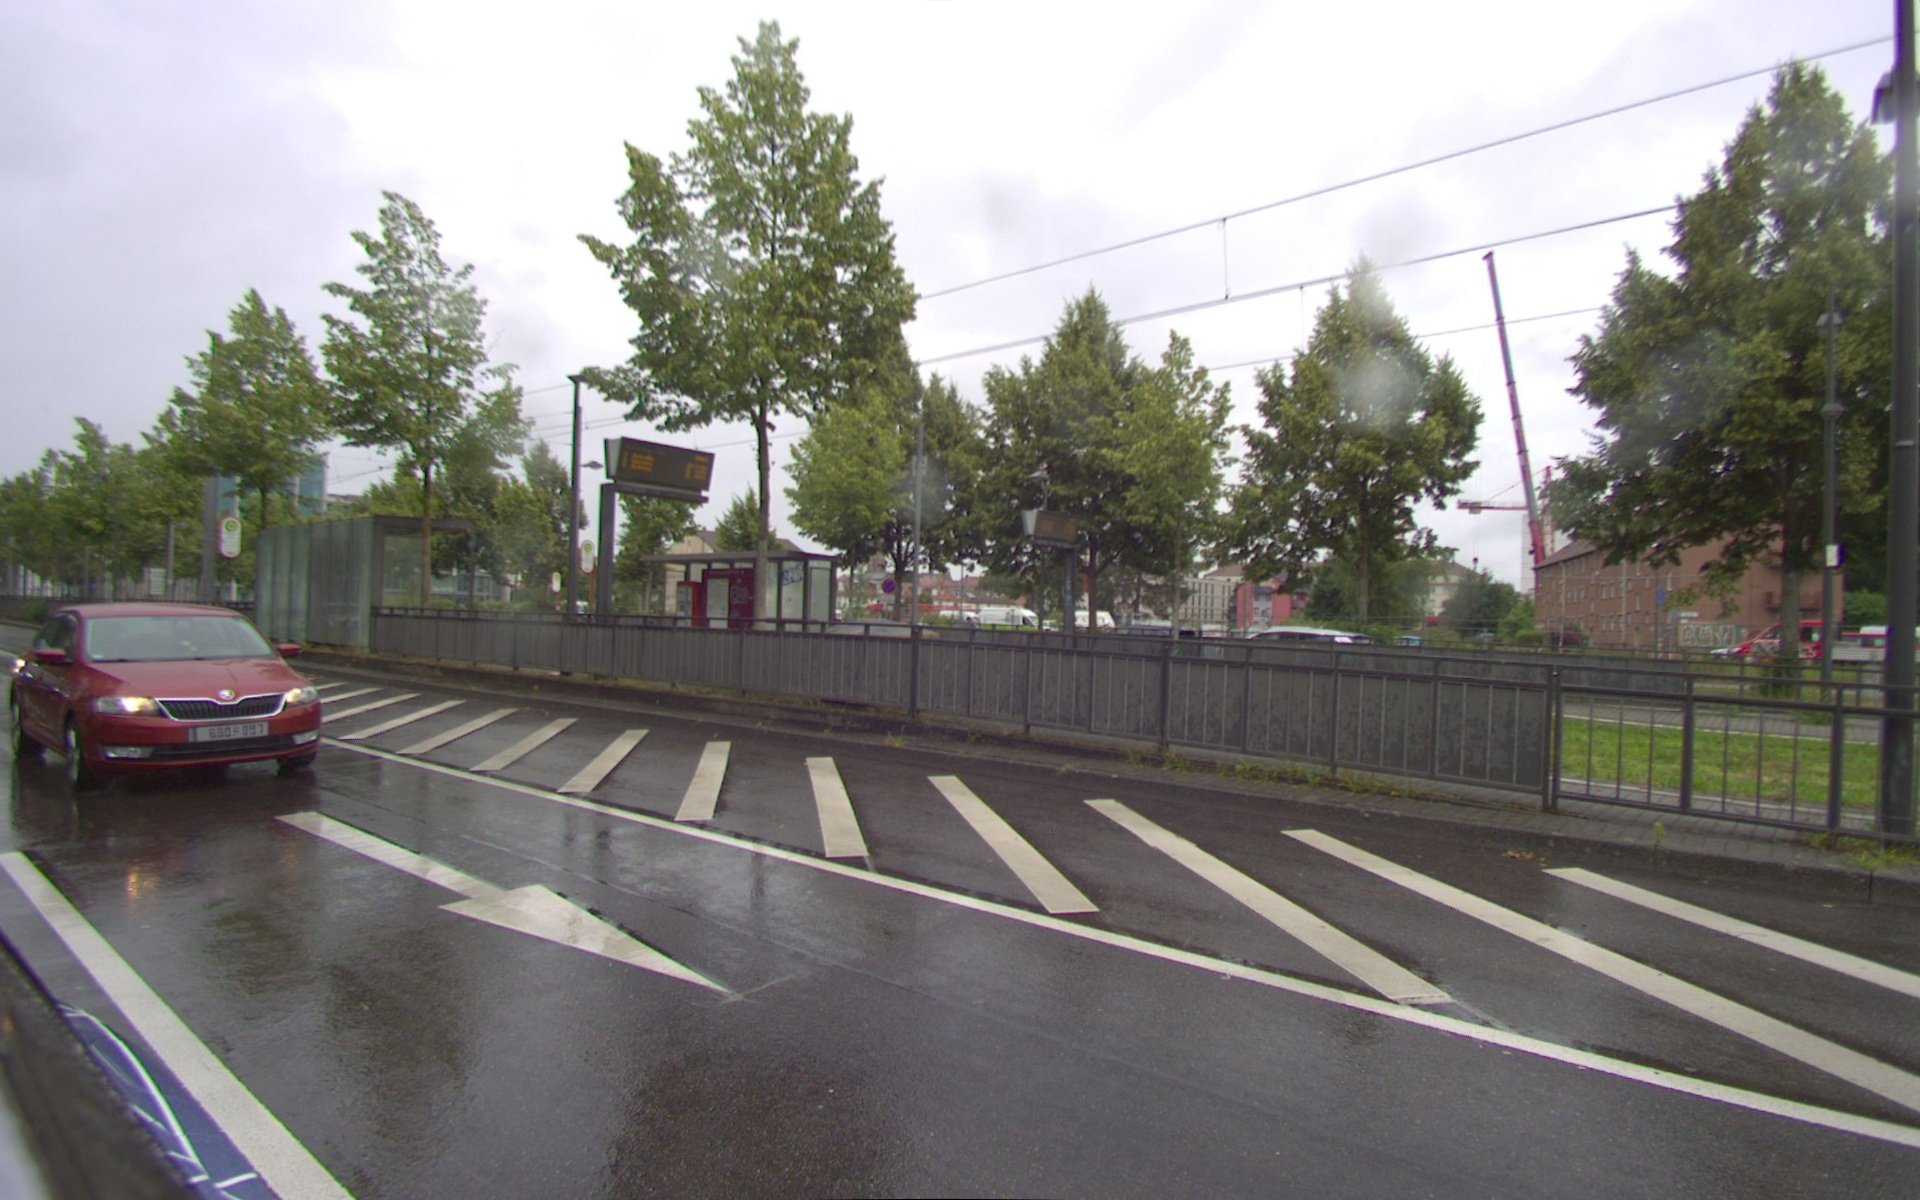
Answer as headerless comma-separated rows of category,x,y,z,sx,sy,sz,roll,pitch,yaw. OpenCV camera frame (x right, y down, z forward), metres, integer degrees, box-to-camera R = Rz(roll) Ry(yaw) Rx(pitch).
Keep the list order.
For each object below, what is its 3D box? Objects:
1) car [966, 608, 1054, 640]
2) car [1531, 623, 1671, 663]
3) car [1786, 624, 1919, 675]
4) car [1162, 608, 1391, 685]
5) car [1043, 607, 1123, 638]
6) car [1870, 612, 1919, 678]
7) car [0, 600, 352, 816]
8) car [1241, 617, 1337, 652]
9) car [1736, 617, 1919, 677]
car,4.250,2.004,86.906,7.628,2.495,2.327,0,1,38
car,36.093,2.401,57.256,6.393,2.029,2.336,0,0,26
car,39.183,2.054,42.652,2.319,2.029,6.440,2,-2,-38
car,7.040,0.974,22.845,4.625,1.497,1.806,0,1,42
car,10.880,1.958,89.962,6.826,2.495,2.470,0,1,38
car,45.628,2.090,45.698,2.319,2.961,6.441,0,1,-38
car,-7.224,0.746,9.120,4.313,1.470,1.765,0,1,41
car,25.551,2.664,78.659,6.804,2.495,2.335,0,-2,28
car,33.797,1.722,38.489,2.319,2.029,6.441,0,1,-38
